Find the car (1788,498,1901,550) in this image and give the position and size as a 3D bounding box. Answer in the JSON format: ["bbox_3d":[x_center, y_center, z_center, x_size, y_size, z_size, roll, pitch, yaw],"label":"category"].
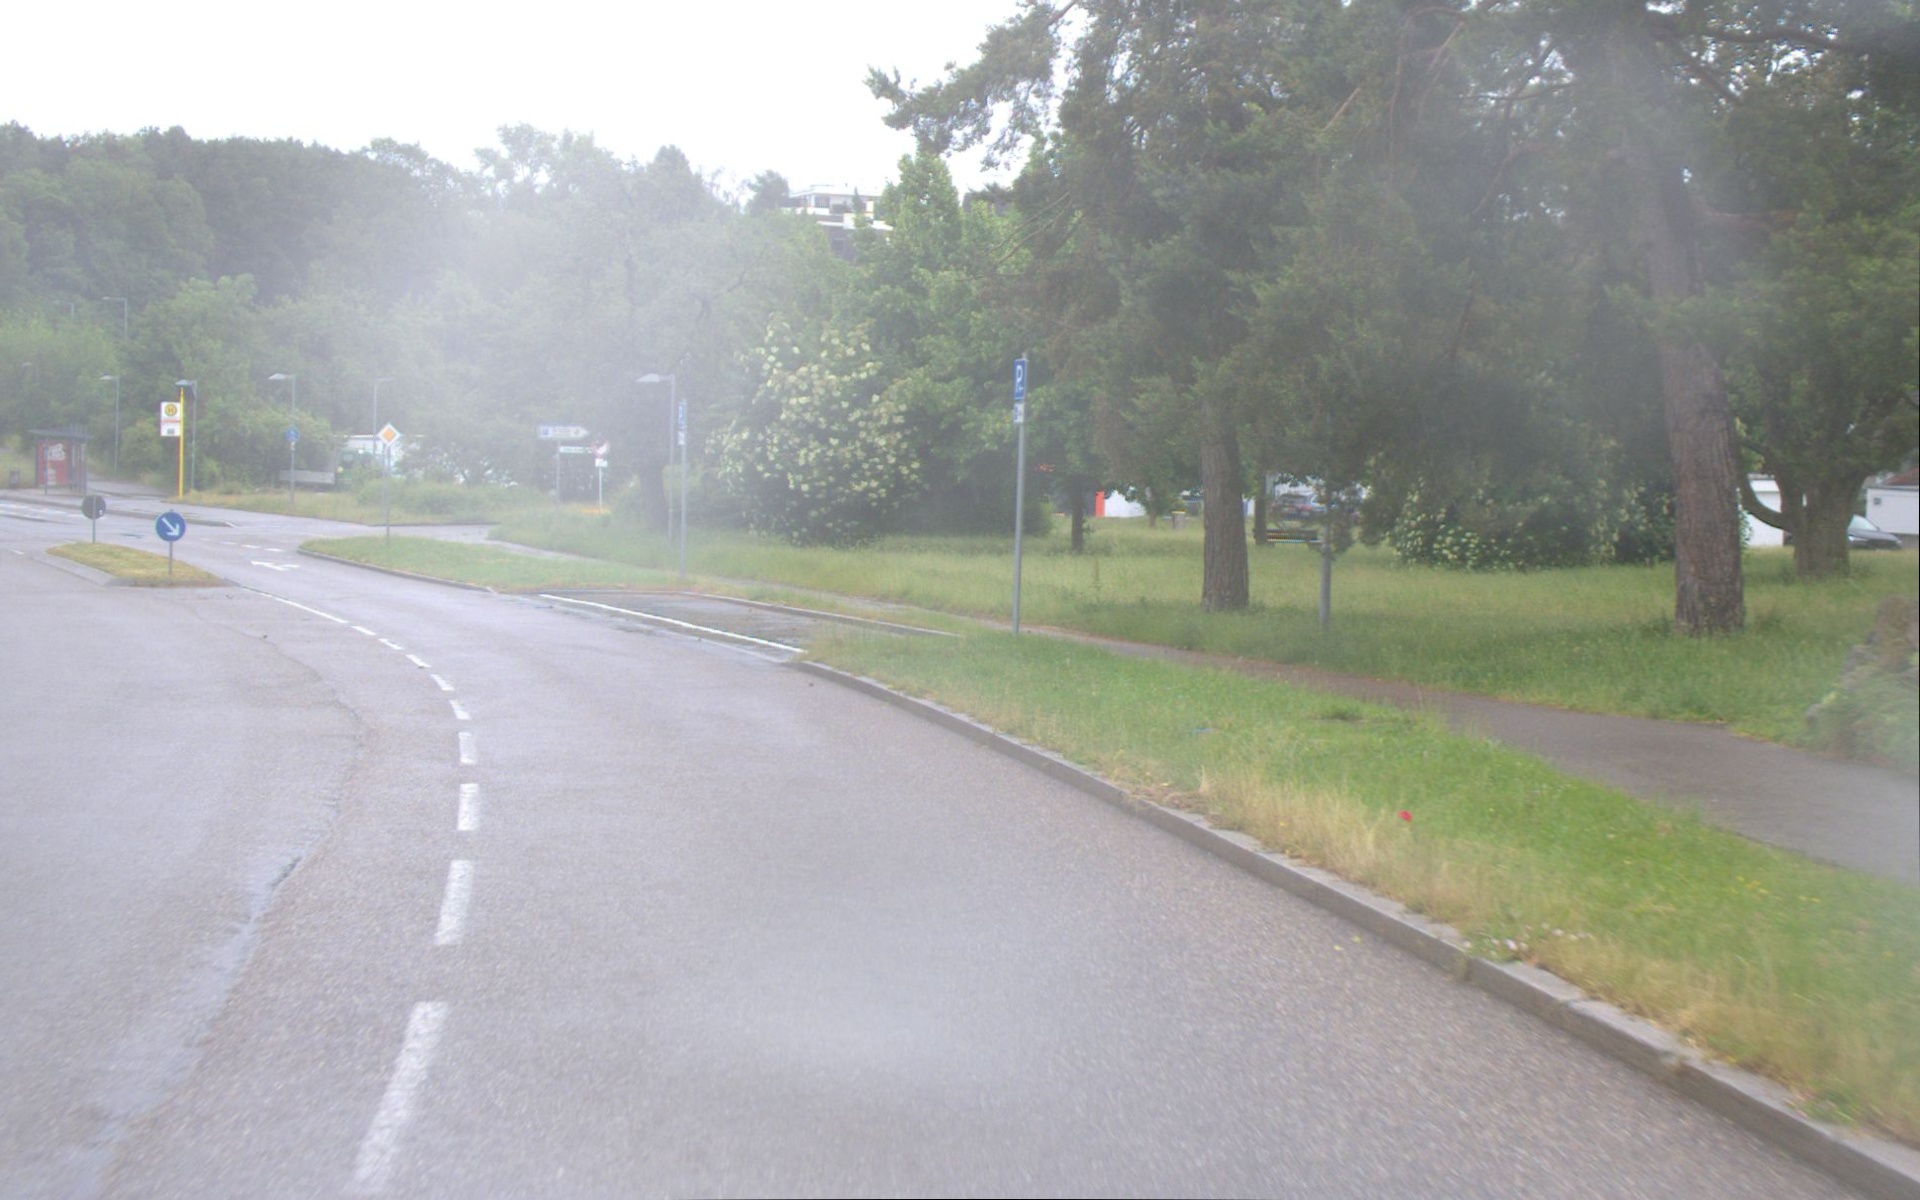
[{"bbox_3d":[26.952,-2.315,104.824,1.972,1.459,4.001,-3,1,-6],"label":"car"}]

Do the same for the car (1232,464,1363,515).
[{"bbox_3d":[12.800,-4.192,130.448,4.553,1.744,1.909,-1,2,37],"label":"car"}]

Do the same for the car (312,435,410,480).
[{"bbox_3d":[-24.557,-5.844,140.960,3.416,1.684,1.997,0,-1,24],"label":"car"}]
